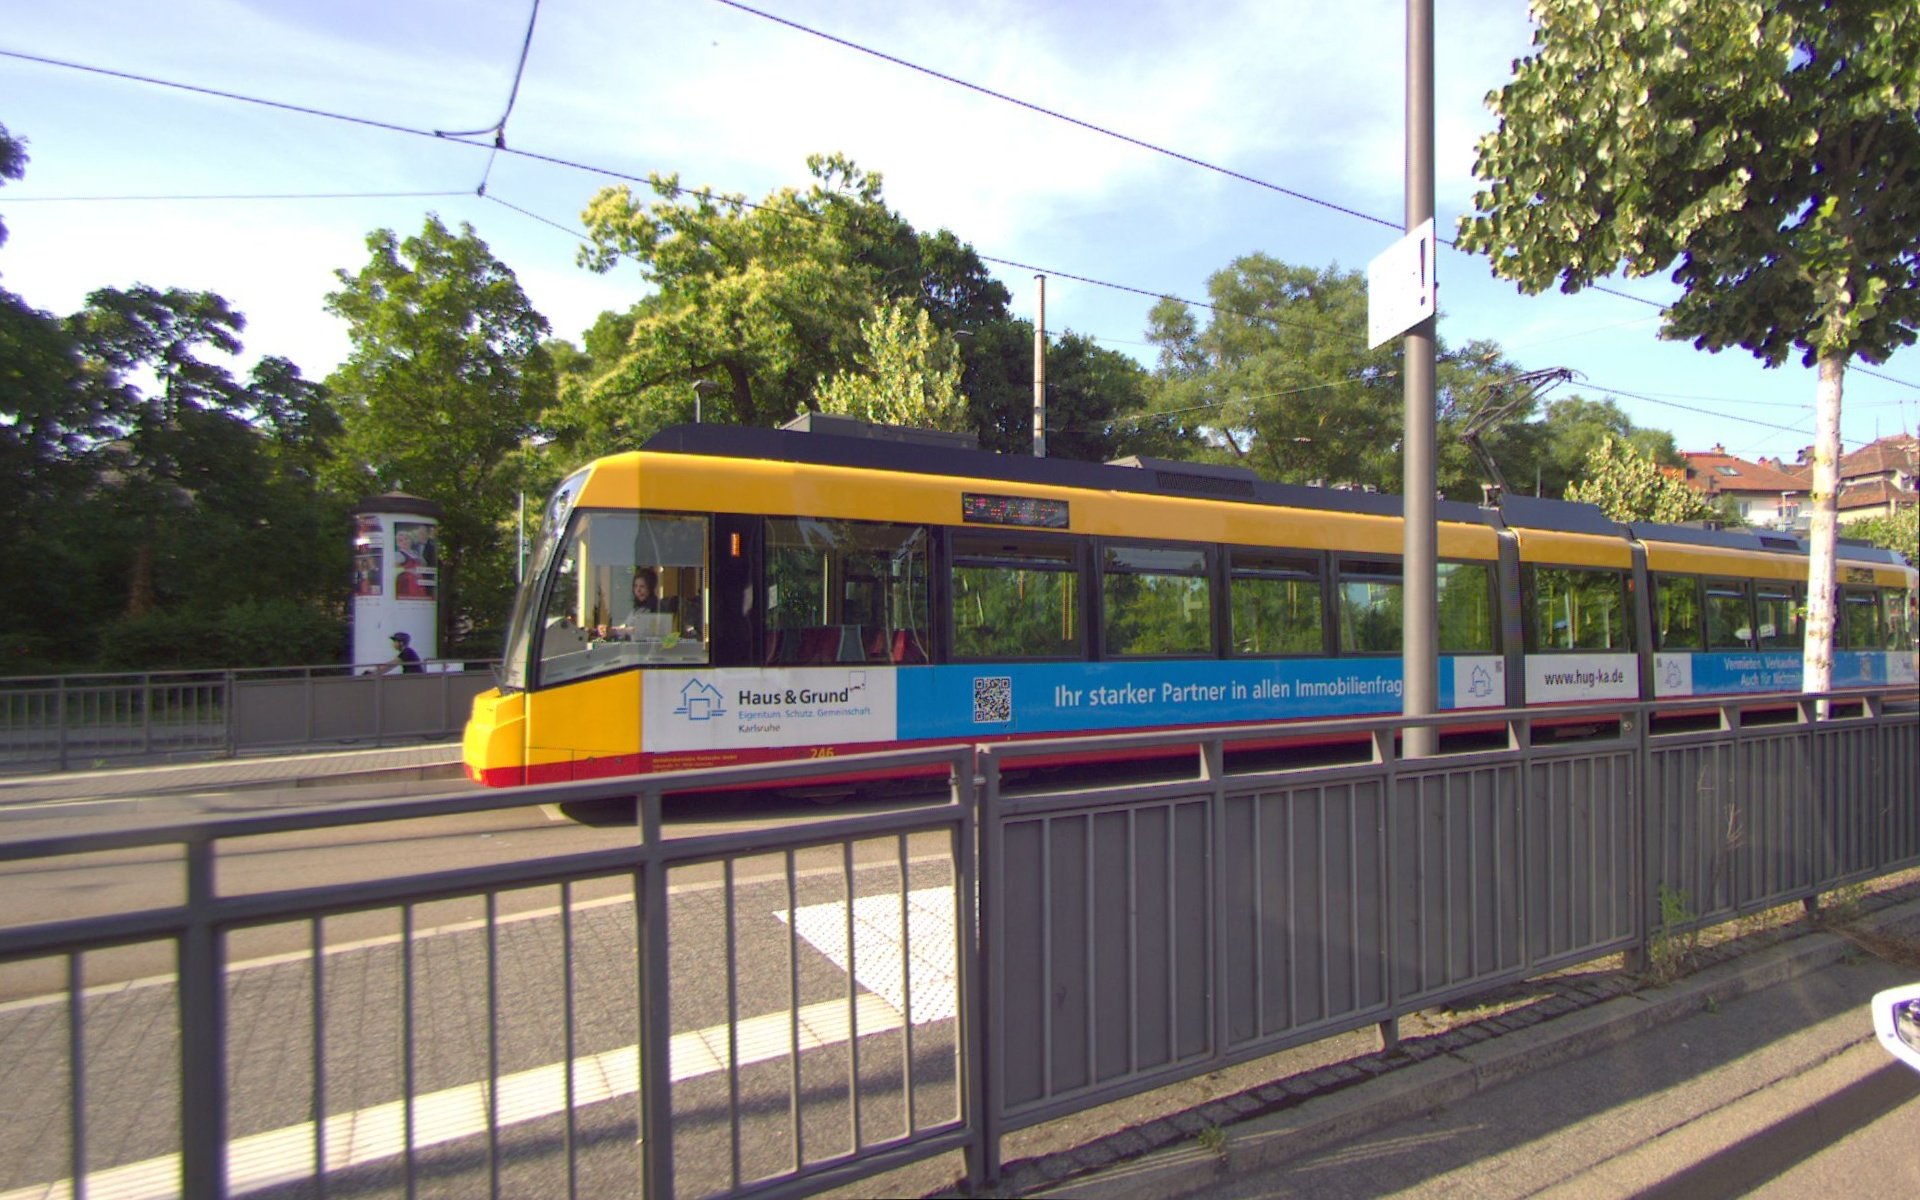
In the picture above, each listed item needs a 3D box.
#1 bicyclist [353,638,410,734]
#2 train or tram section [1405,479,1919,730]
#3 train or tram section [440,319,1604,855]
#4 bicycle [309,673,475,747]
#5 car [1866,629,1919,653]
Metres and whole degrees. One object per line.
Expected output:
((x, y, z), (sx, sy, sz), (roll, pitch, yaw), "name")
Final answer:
((-8.968, 1.317, 15.590), (0.708, 1.432, 0.648), (0, -1, -27), "bicyclist")
((14.361, 0.167, 19.198), (14.306, 3.525, 3.146), (1, -1, -31), "train or tram section")
((2.106, 0.012, 11.710), (14.366, 3.525, 3.146), (1, -1, -31), "train or tram section")
((-8.829, 1.691, 15.733), (2.221, 1.031, 0.540), (1, -1, -27), "bicycle")
((73.197, 3.125, 77.866), (1.965, 1.773, 3.992), (0, -1, -11), "car")
